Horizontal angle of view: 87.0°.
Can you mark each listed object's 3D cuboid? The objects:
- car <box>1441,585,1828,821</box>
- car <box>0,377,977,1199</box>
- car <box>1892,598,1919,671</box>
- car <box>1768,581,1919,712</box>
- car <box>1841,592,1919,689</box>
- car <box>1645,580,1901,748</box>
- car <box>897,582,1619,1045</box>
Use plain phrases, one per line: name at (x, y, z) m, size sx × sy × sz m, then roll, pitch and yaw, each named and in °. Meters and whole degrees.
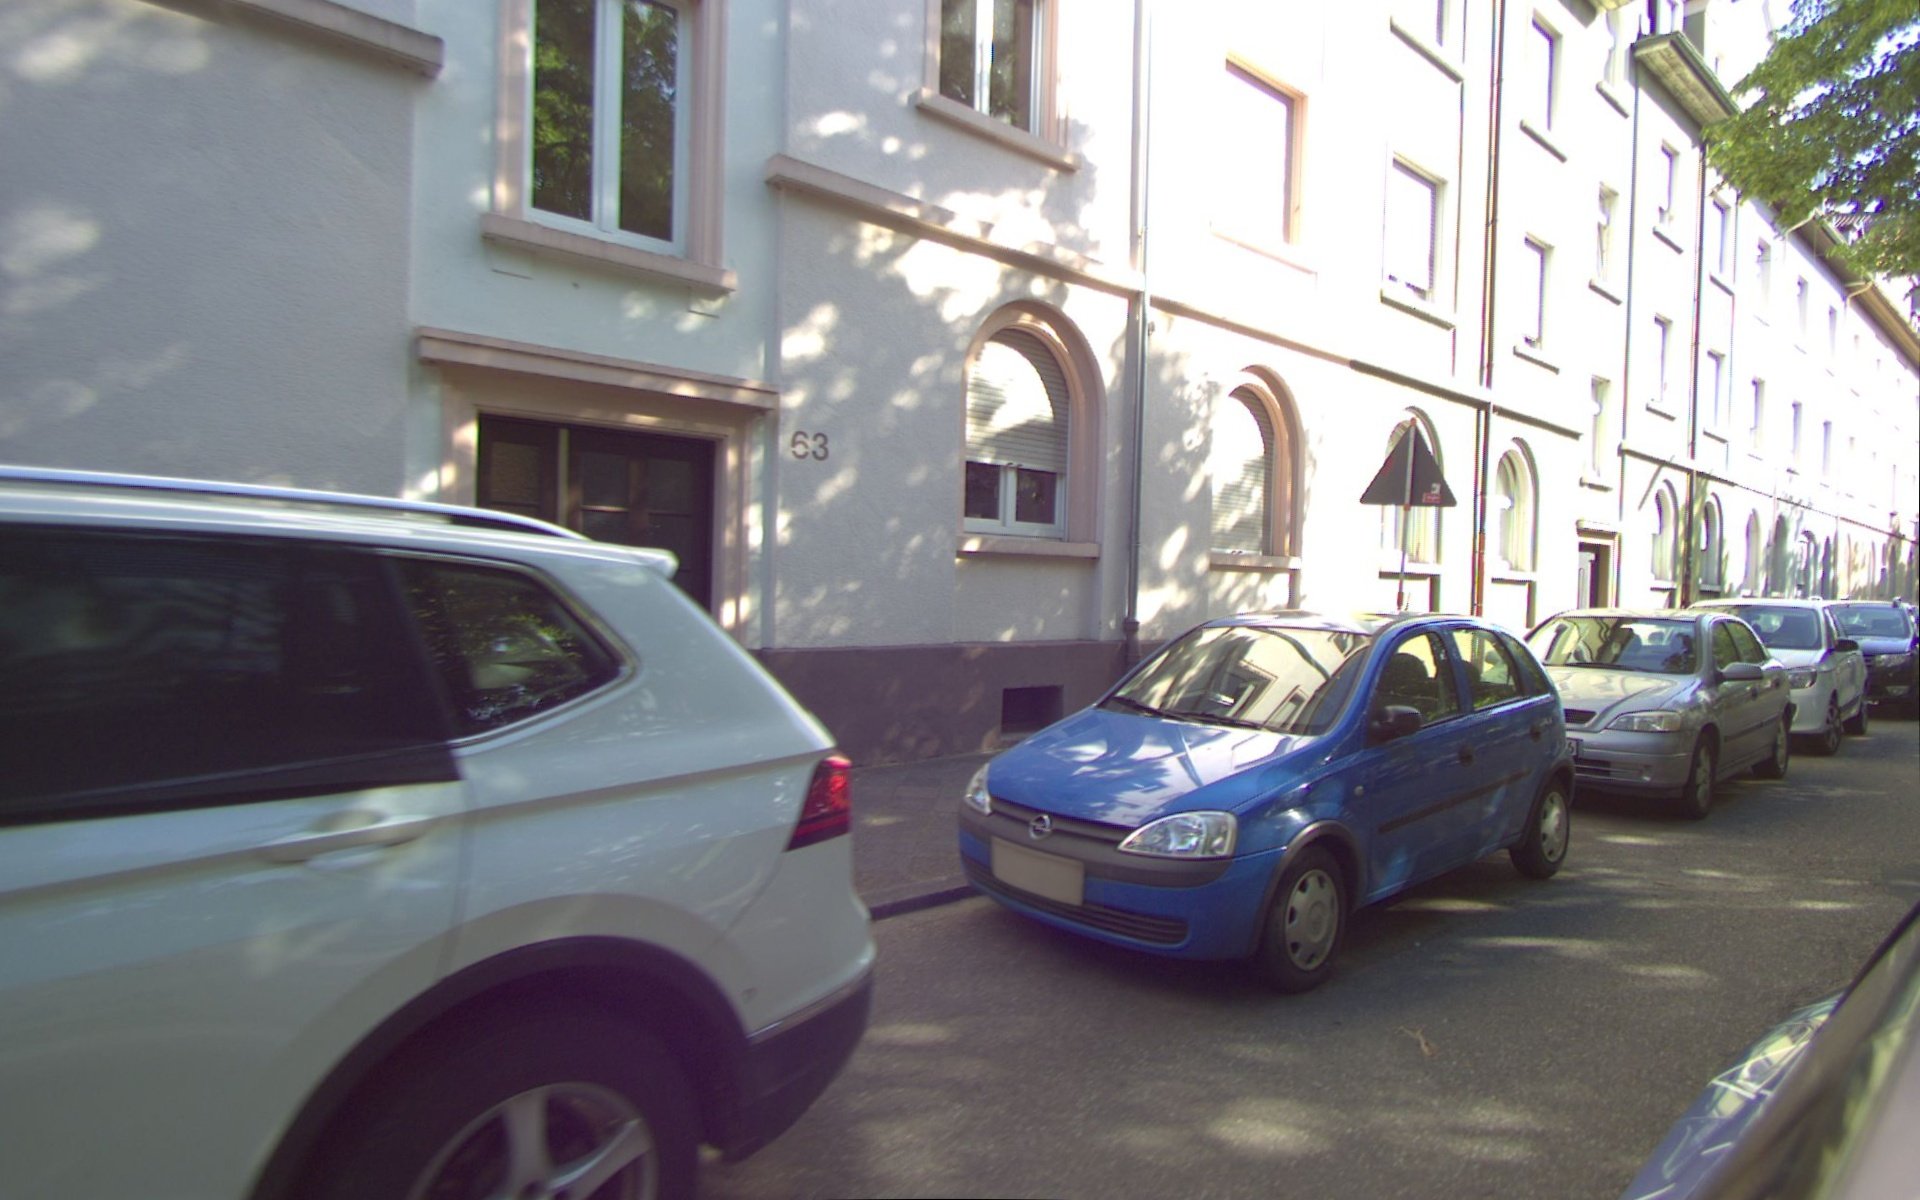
car at (5.602, 0.634, 8.202) m, size 4.018 × 1.430 × 1.633 m, roll 0°, pitch 1°, yaw -42°
car at (-2.308, 0.539, 1.544) m, size 4.590 × 1.695 × 1.820 m, roll 0°, pitch 1°, yaw -40°
car at (21.211, 0.717, 21.389) m, size 4.084 × 1.450 × 1.726 m, roll 0°, pitch 1°, yaw -40°
car at (13.112, 0.585, 14.576) m, size 4.088 × 1.616 × 1.724 m, roll 0°, pitch 1°, yaw -43°
car at (16.970, 0.667, 17.819) m, size 4.087 × 1.547 × 1.725 m, roll 0°, pitch 1°, yaw -42°
car at (9.100, 0.591, 11.246) m, size 3.530 × 1.553 × 1.633 m, roll 0°, pitch 1°, yaw -42°
car at (1.671, 0.665, 4.997) m, size 3.720 × 1.430 × 1.621 m, roll 0°, pitch 1°, yaw -40°
